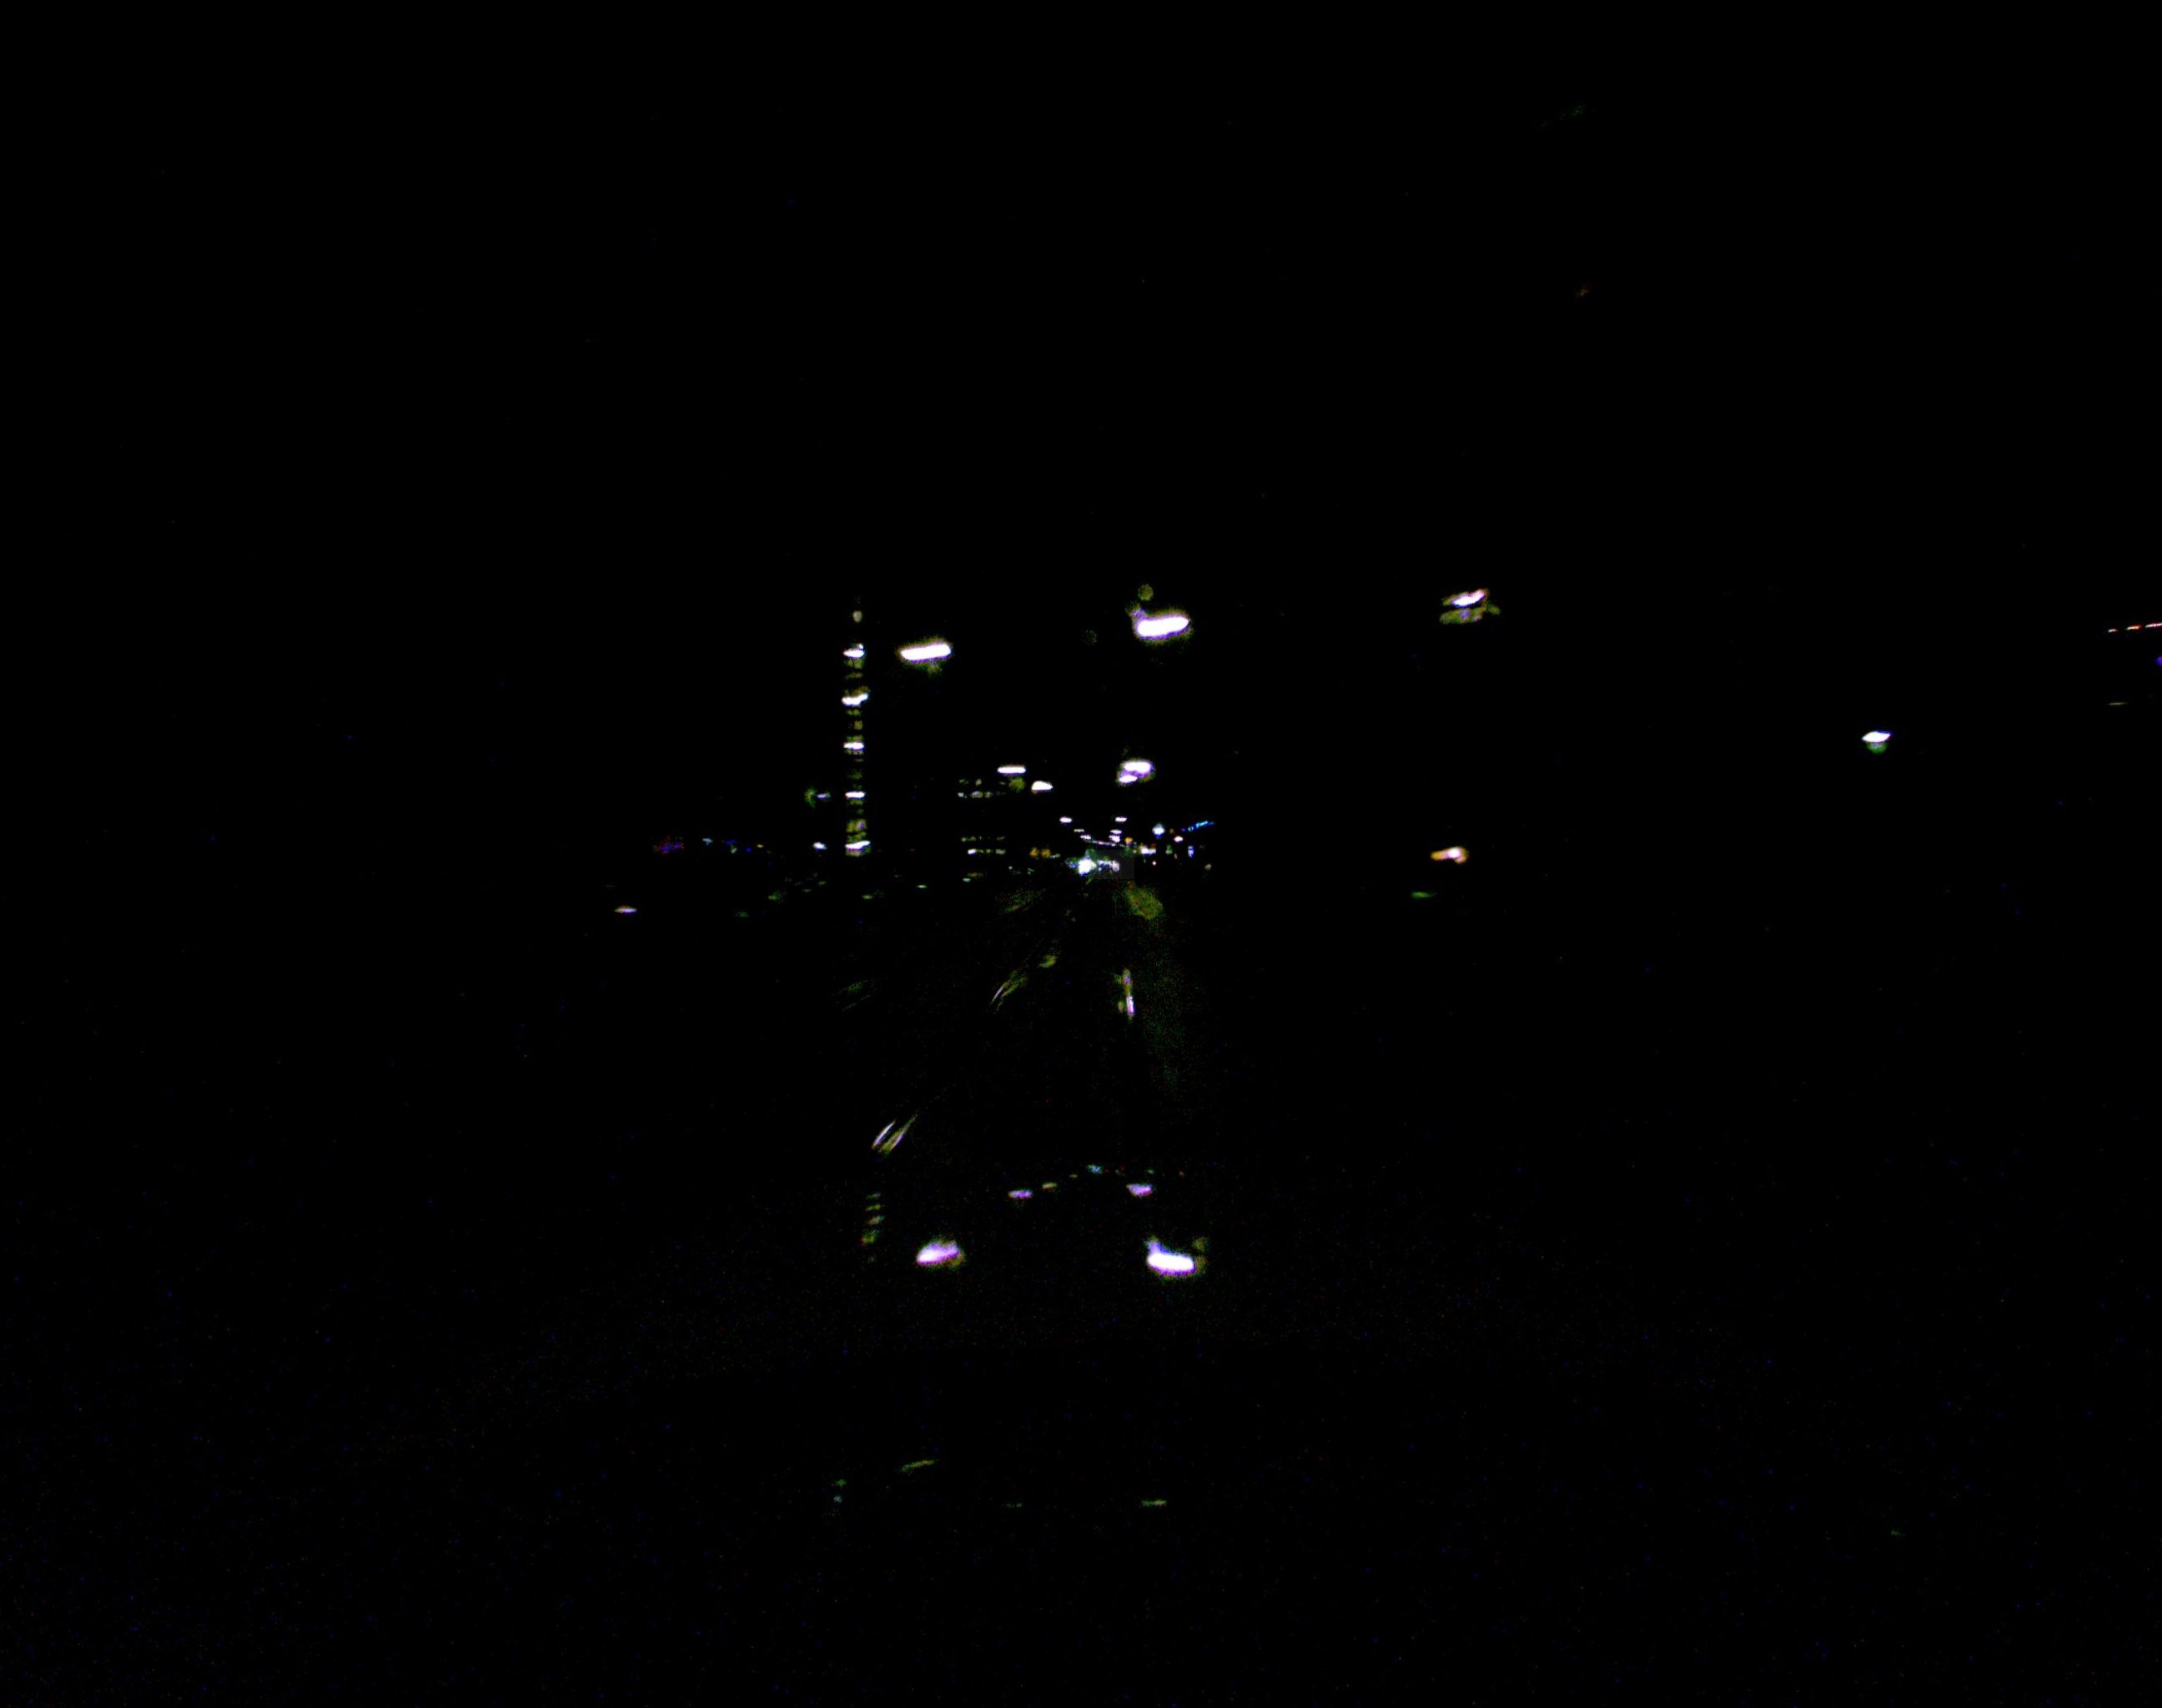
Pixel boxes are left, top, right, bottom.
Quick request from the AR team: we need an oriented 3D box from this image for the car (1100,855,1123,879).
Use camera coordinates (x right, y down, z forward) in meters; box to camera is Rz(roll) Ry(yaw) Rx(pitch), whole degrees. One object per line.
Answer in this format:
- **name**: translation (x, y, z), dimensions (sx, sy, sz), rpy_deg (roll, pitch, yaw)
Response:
- **car**: translation (3.028, 1.326, 81.704), dimensions (2.236, 2.361, 4.393), rpy_deg (-1, -1, 1)

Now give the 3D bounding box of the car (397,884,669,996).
- **car**: translation (-8.666, 1.276, 13.375), dimensions (1.712, 1.456, 3.951), rpy_deg (-1, -1, 1)

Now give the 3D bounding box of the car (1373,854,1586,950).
- **car**: translation (7.362, 0.776, 14.877), dimensions (4.361, 1.468, 1.662), rpy_deg (-1, -1, -37)

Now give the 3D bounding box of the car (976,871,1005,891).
- **car**: translation (-6.994, 2.039, 63.326), dimensions (1.835, 1.423, 4.206), rpy_deg (-2, -1, -1)

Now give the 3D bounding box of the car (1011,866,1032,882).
- **car**: translation (-6.200, 2.123, 85.782), dimensions (1.875, 1.545, 4.397), rpy_deg (2, -1, -1)

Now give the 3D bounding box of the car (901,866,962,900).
- **car**: translation (-7.637, 1.457, 42.041), dimensions (2.135, 1.620, 4.590), rpy_deg (1, -1, 1)

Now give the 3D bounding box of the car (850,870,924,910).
- **car**: translation (-7.788, 1.410, 33.106), dimensions (1.724, 1.438, 4.628), rpy_deg (-1, -1, 2)

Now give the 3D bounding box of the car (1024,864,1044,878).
- **car**: translation (-5.725, 2.073, 99.724), dimensions (1.976, 1.631, 4.518), rpy_deg (-1, -1, 2)

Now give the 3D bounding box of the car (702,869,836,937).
- **car**: translation (-8.432, 1.269, 22.463), dimensions (1.802, 1.579, 4.355), rpy_deg (2, 0, 2)

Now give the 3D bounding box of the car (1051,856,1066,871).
- **car**: translation (-4.139, 1.713, 149.292), dimensions (2.175, 2.591, 6.398), rpy_deg (-1, 0, 4)

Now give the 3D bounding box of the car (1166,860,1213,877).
- **car**: translation (10.569, 1.439, 79.400), dimensions (4.111, 1.537, 1.945), rpy_deg (0, -1, -24)

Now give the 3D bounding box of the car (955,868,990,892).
- **car**: translation (-7.149, 1.677, 53.840), dimensions (1.768, 1.440, 4.604), rpy_deg (-2, -1, -2)

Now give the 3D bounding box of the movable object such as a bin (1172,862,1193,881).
- **movable object such as a bin**: translation (7.621, 1.331, 61.389), dimensions (1.319, 1.408, 1.158), rpy_deg (-3, -1, -4)

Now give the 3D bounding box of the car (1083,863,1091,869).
- **car**: translation (1.460, 2.910, 203.293), dimensions (1.769, 1.518, 4.053), rpy_deg (-1, 0, 2)

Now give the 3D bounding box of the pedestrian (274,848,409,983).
- **pedestrian**: translation (-10.980, 0.880, 12.150), dimensions (0.789, 1.901, 1.291), rpy_deg (-1, -1, 2)

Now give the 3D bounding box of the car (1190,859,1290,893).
- **car**: translation (8.007, 1.077, 41.092), dimensions (4.598, 1.475, 1.828), rpy_deg (-2, -1, -18)
